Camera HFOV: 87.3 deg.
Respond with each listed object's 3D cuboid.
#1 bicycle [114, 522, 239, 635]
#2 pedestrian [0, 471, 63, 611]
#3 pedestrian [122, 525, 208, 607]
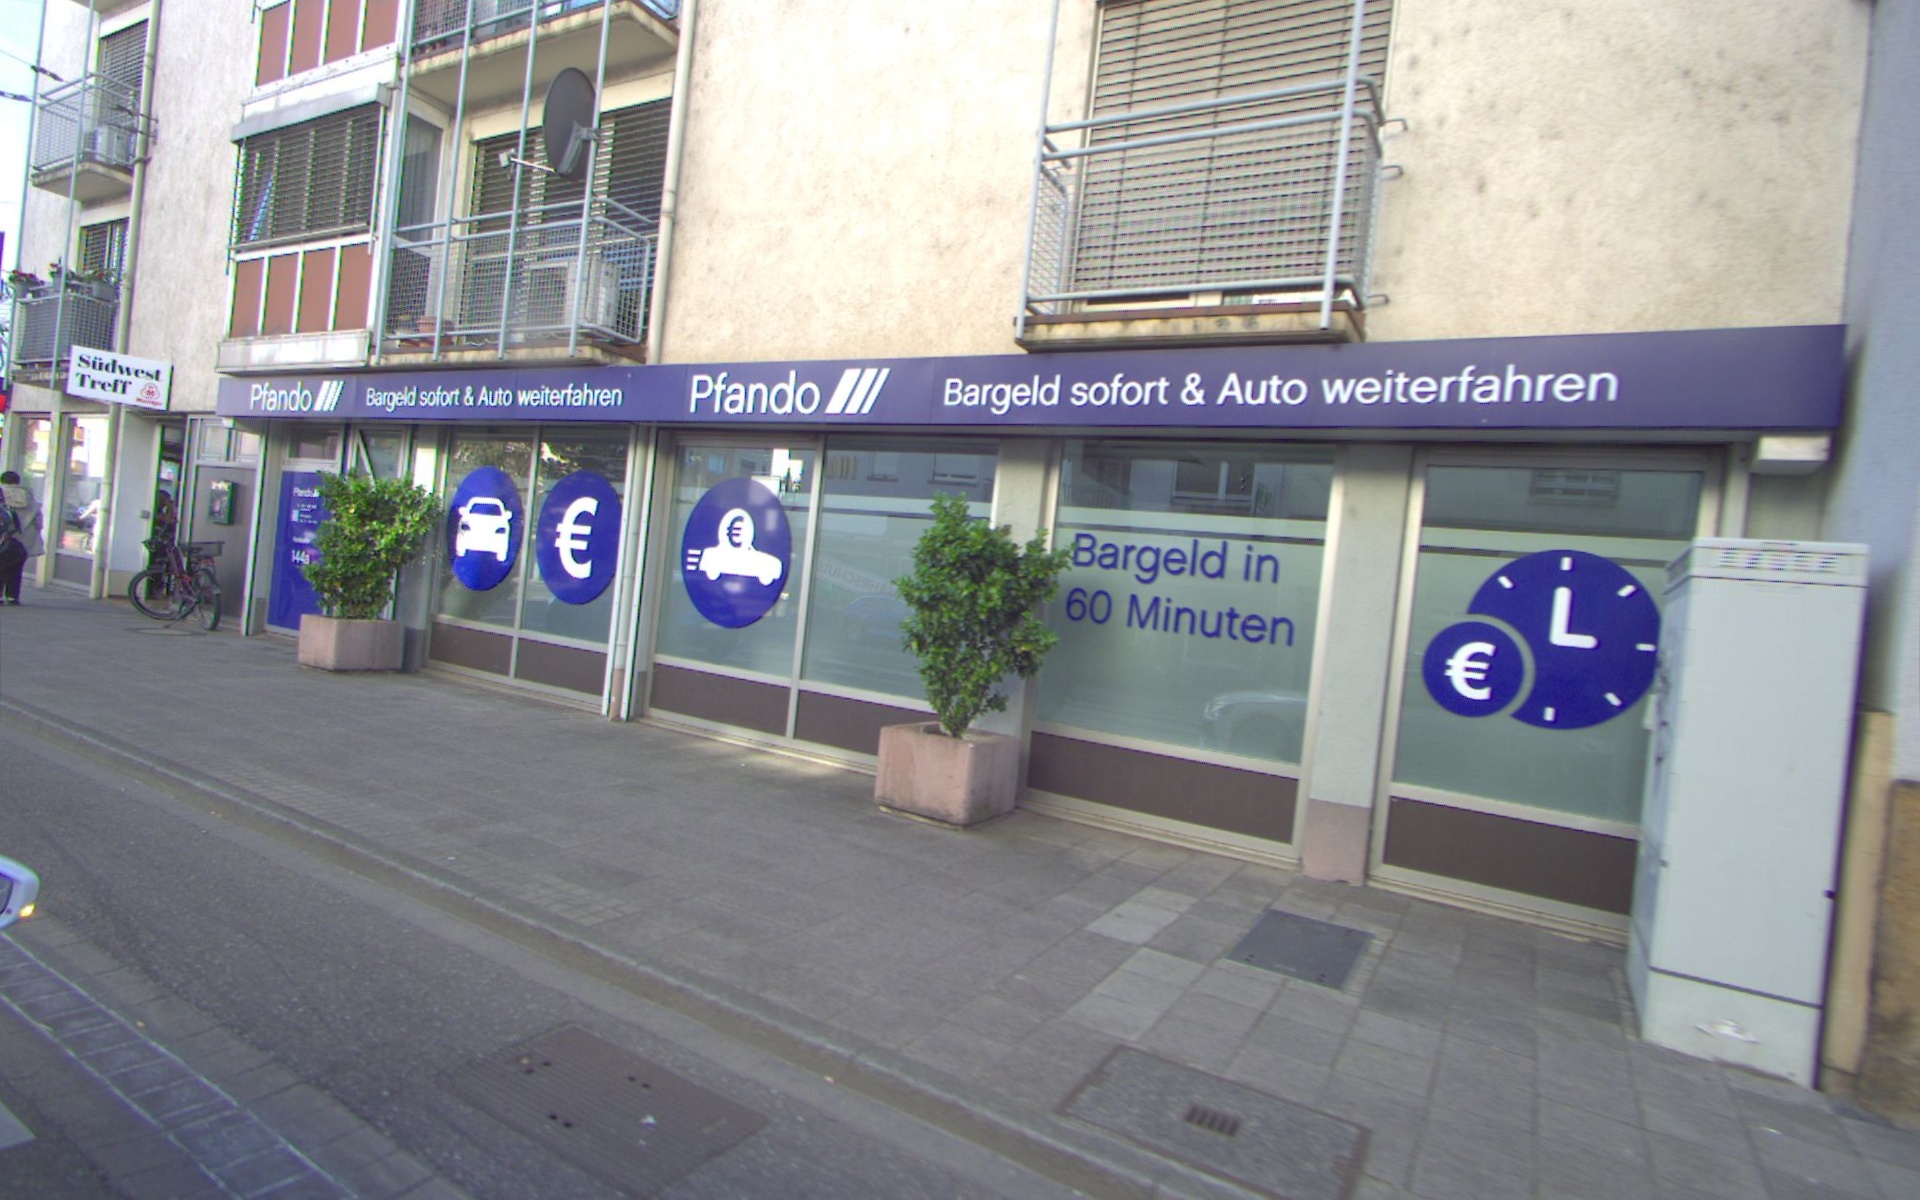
[{"bbox_3d":[-9.332,-0.273,11.959,1.747,1.176,0.497,6,0,31],"label":"bicycle"},{"bbox_3d":[-11.451,-0.720,11.958,0.796,1.614,0.885,7,3,26],"label":"pedestrian"},{"bbox_3d":[-11.651,-0.497,14.761,0.667,1.101,0.624,7,1,-3],"label":"pedestrian"}]
